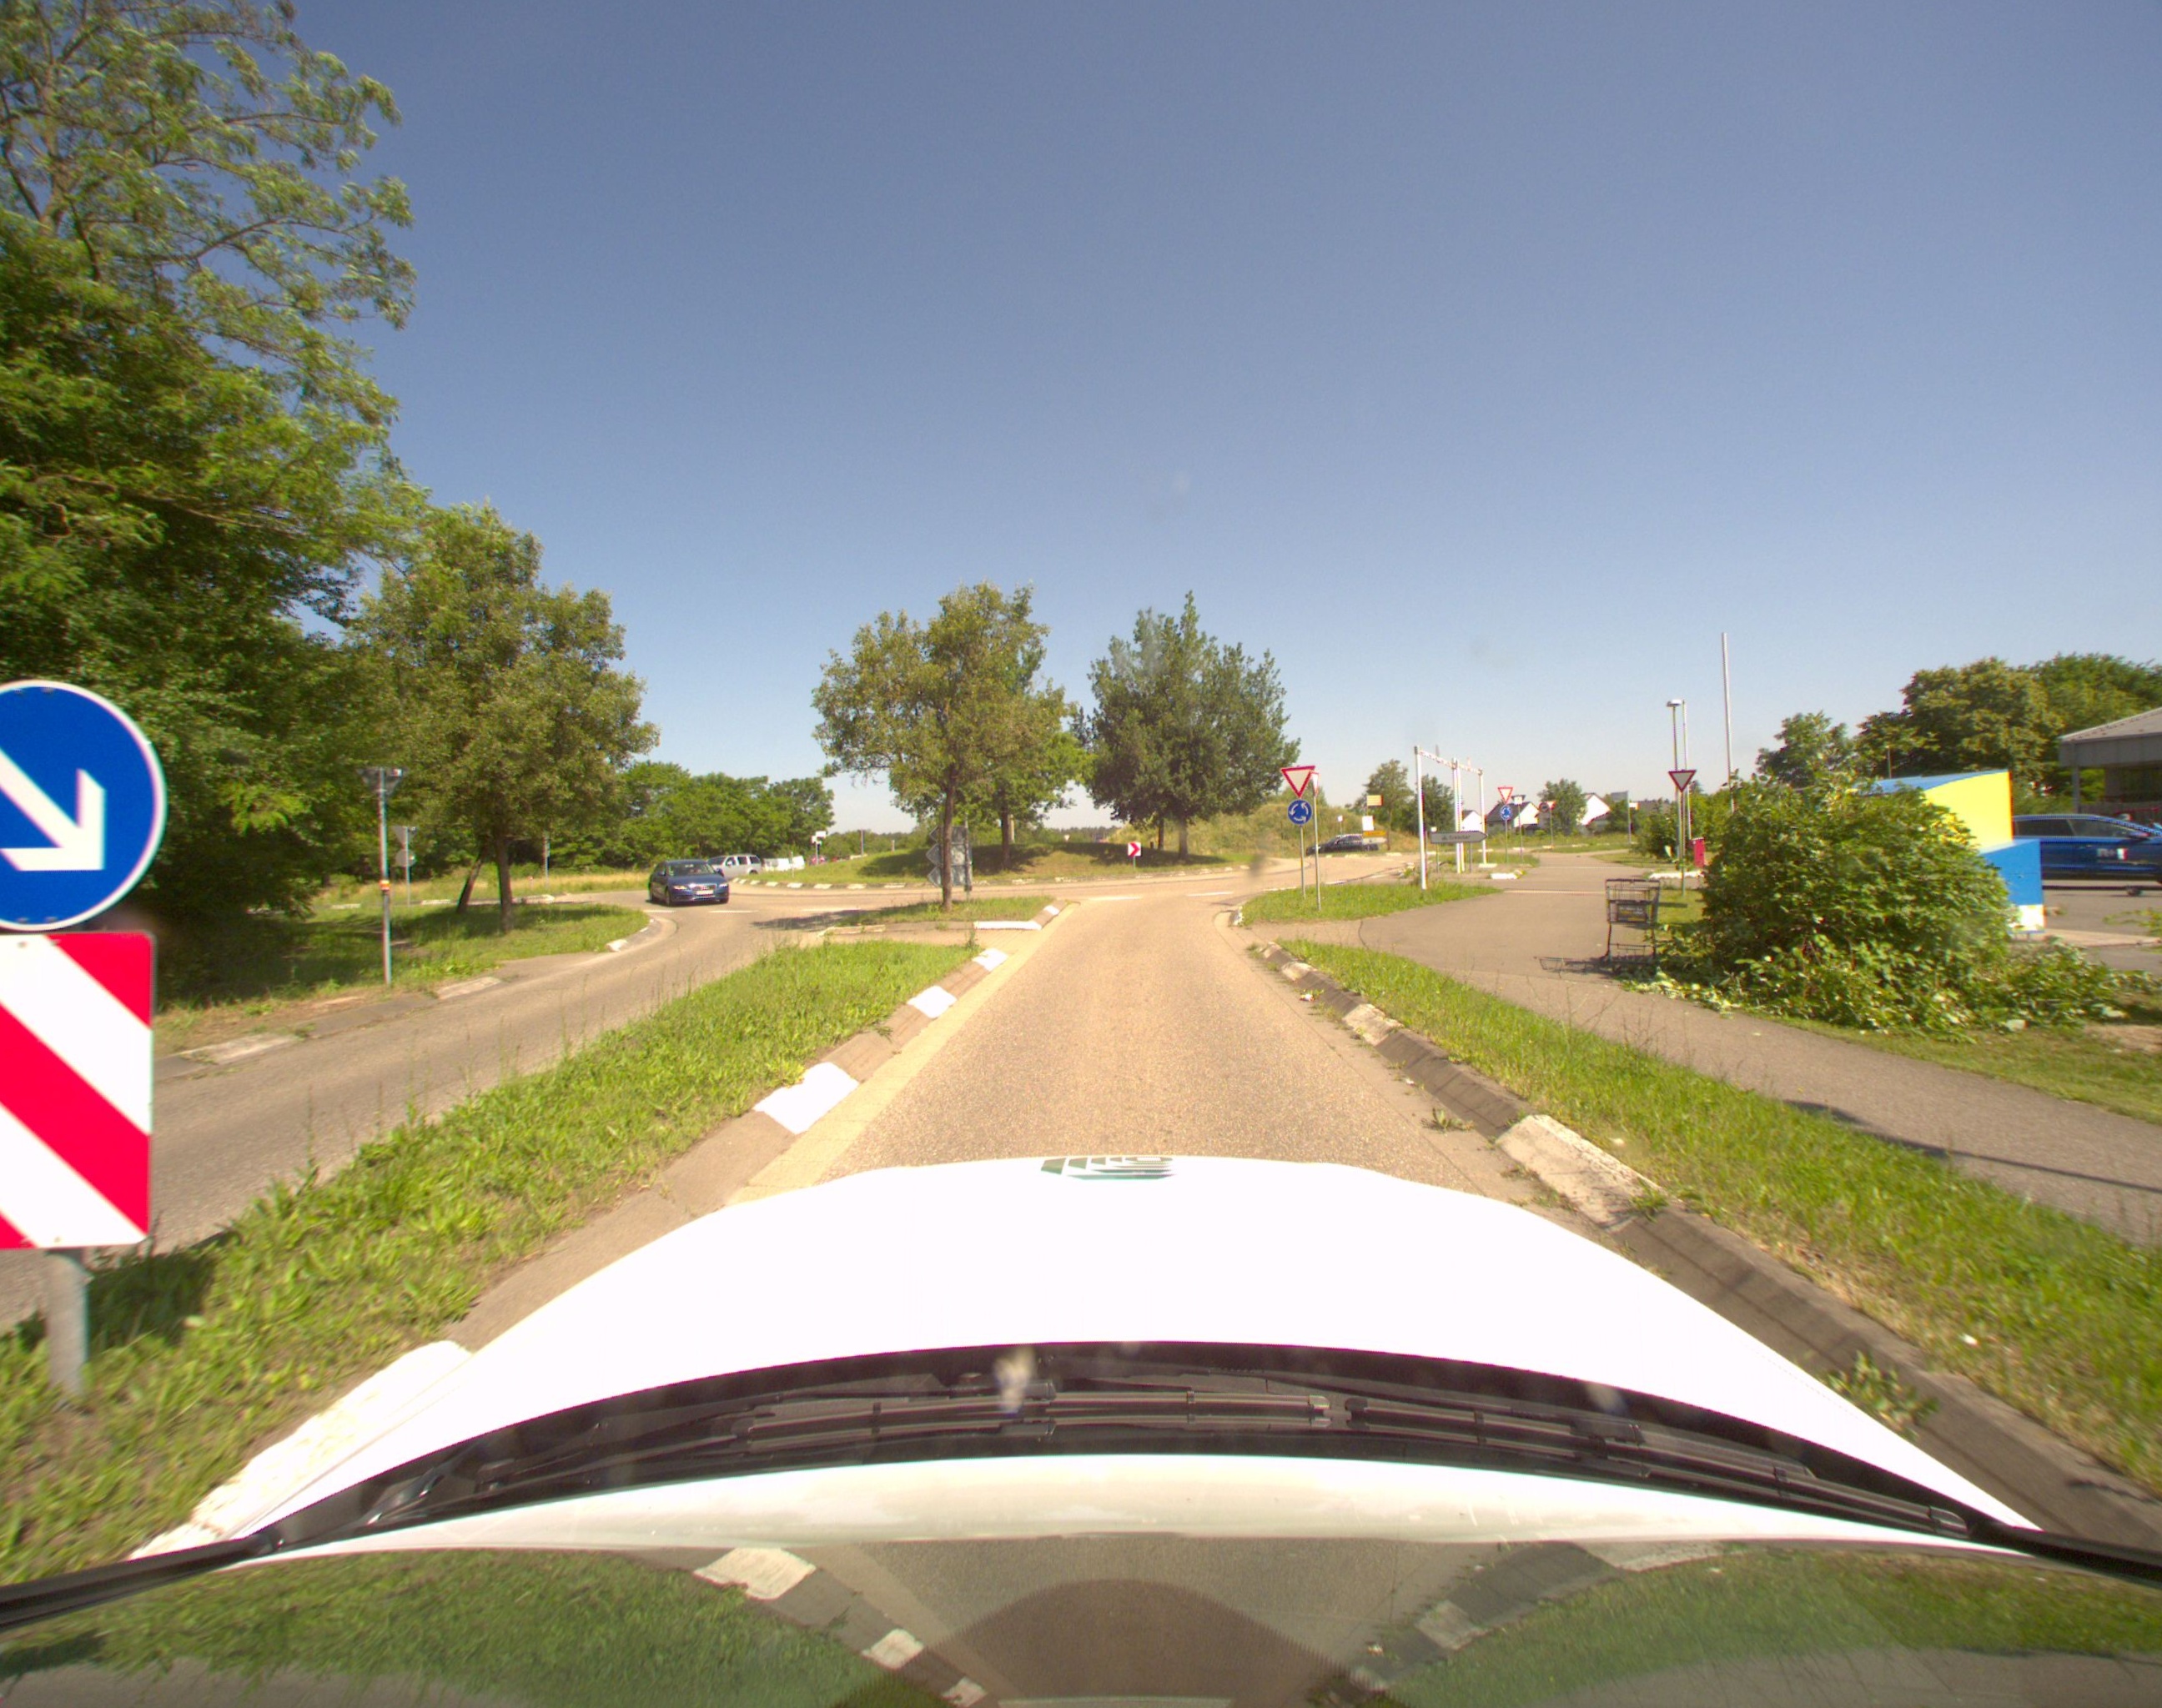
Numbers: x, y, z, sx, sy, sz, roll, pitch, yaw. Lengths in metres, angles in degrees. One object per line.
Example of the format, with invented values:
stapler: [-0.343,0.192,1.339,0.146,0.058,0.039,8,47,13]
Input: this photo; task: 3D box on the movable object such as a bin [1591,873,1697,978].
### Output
movable object such as a bin: [6.842,0.824,9.976,0.860,1.120,1.464,-1,0,27]

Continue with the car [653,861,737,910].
car: [-12.864,1.003,26.988,1.846,1.387,4.377,-4,1,-34]

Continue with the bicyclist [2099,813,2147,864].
bicyclist: [31.908,-0.475,24.942,0.674,1.515,0.607,-2,0,-3]

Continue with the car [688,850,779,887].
car: [-19.602,0.780,46.152,1.877,1.815,4.622,-2,0,23]

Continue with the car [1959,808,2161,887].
car: [21.926,-0.147,17.276,4.372,1.571,1.726,-1,1,44]

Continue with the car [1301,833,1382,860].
car: [17.383,-0.493,54.424,4.759,1.592,1.993,-2,0,-10]

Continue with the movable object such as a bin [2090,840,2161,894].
movable object such as a bin: [19.787,0.233,15.144,0.884,0.955,1.192,-2,1,-32]

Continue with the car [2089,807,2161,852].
car: [39.932,-0.935,30.974,1.133,1.635,1.813,-2,0,-27]

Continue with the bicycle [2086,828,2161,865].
bicycle: [32.139,-0.238,24.960,2.065,1.042,0.553,-2,0,-3]
